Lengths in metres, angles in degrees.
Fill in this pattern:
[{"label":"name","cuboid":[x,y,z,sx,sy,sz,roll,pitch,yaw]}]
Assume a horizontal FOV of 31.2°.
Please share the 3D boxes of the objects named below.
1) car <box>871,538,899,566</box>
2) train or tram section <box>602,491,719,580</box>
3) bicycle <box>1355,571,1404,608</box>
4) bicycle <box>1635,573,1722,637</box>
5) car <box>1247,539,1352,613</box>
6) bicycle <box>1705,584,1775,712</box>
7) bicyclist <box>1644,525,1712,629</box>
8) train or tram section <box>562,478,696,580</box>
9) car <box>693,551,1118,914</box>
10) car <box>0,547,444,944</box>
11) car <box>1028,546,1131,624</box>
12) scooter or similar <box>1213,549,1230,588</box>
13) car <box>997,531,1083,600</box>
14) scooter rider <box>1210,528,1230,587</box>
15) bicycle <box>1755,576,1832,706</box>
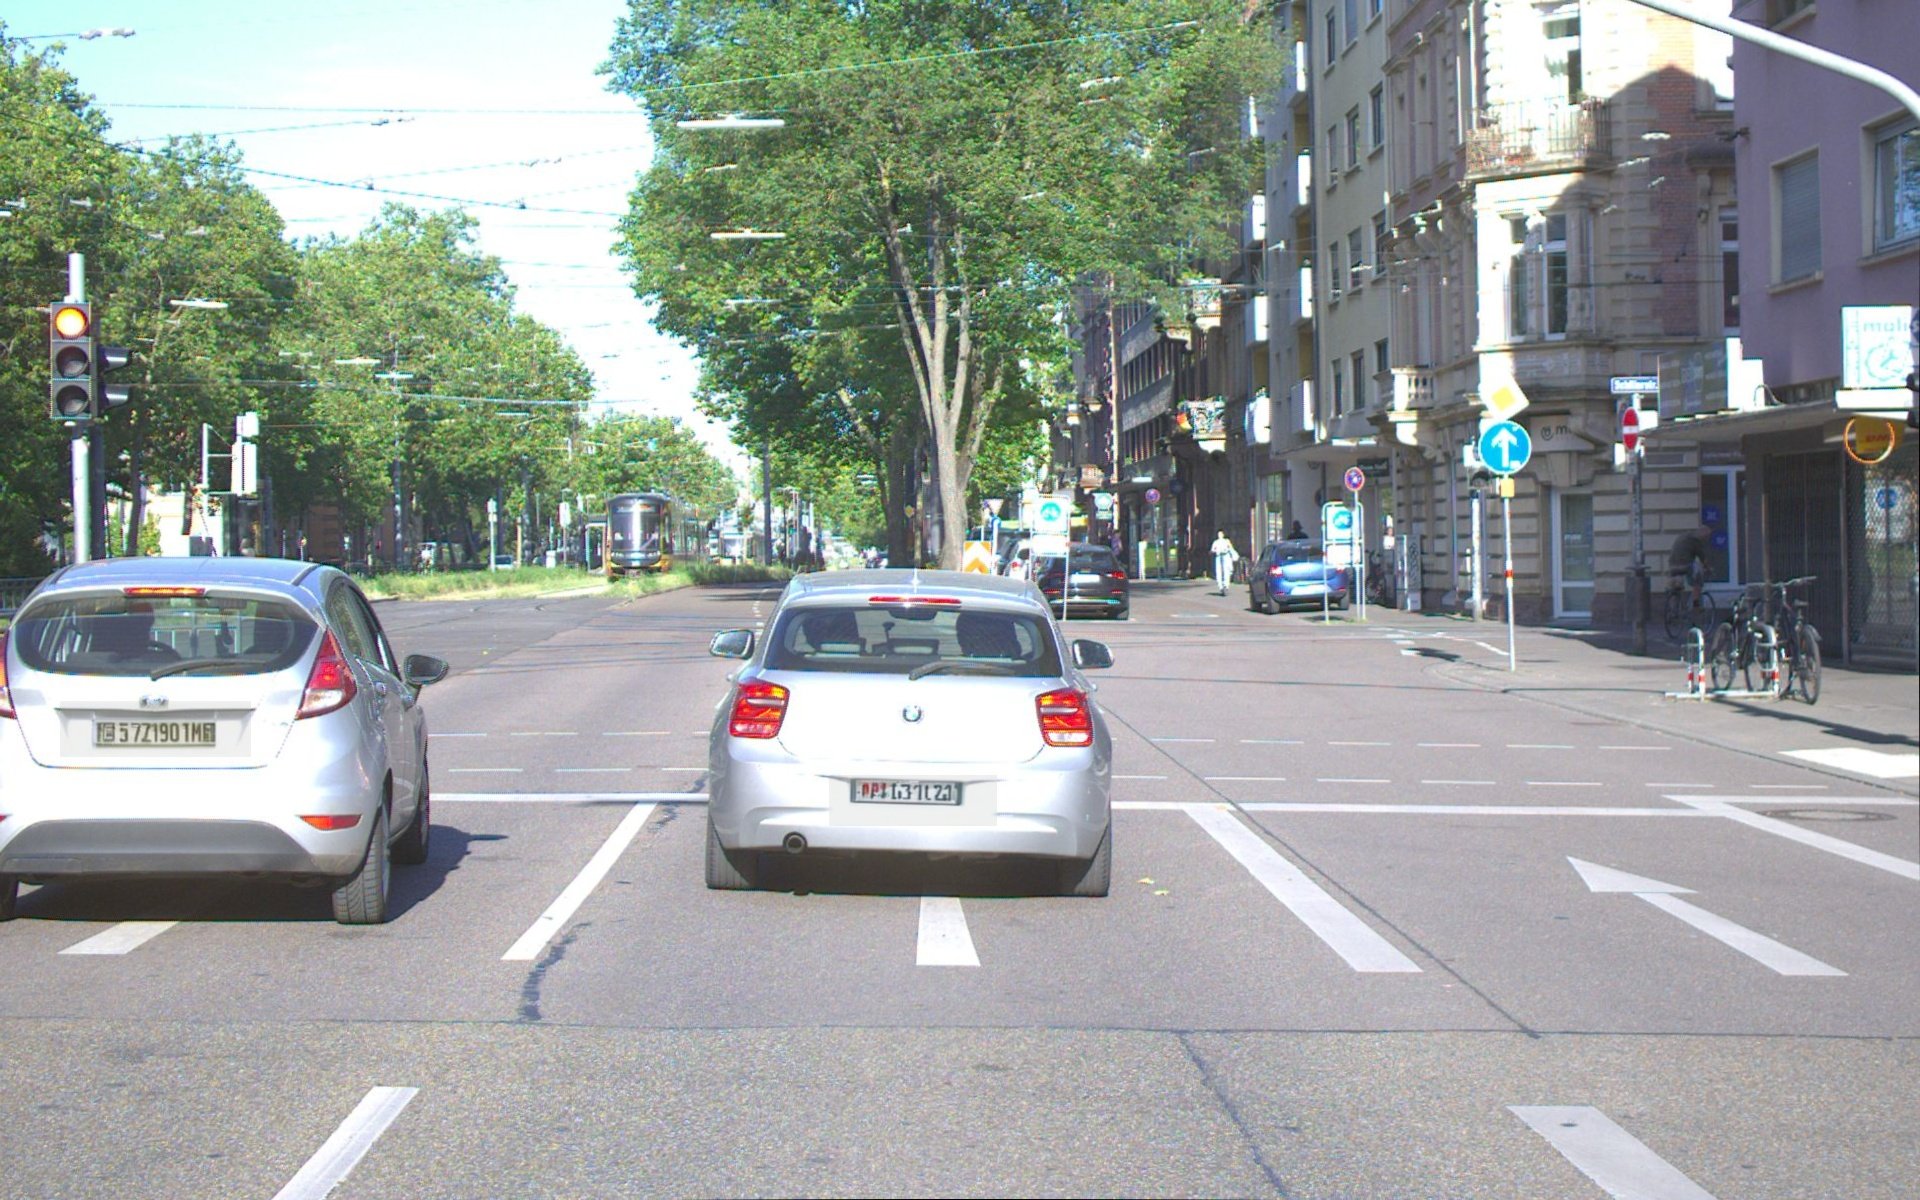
[{"label":"car","cuboid":[-5.537,-3.523,252.892,1.993,2.007,4.000,-1,1,-1]},{"label":"train or tram section","cuboid":[-13.496,-2.930,156.731,4.005,3.852,17.489,0,1,-1]},{"label":"bicycle","cuboid":[8.913,-0.233,73.091,0.754,0.768,1.945,0,1,-2]},{"label":"bicycle","cuboid":[10.387,0.064,49.691,0.654,0.900,1.335,1,1,41]},{"label":"car","cuboid":[7.147,-0.526,72.647,1.735,1.514,3.637,1,1,-1]},{"label":"bicycle","cuboid":[7.284,0.430,32.148,0.414,1.137,1.809,0,1,6]},{"label":"bicyclist","cuboid":[10.382,-0.338,49.699,0.548,1.497,0.959,0,1,41]},{"label":"train or tram section","cuboid":[-13.238,-2.847,139.254,3.969,3.852,17.489,0,1,-1]},{"label":"car","cuboid":[-0.259,0.524,16.325,1.740,1.462,4.000,1,1,-1]},{"label":"car","cuboid":[-3.157,0.513,14.808,1.609,1.462,3.891,0,1,-5]},{"label":"car","cuboid":[2.296,-0.312,66.872,1.735,1.428,3.678,1,1,-2]},{"label":"scooter or similar","cuboid":[6.723,-0.822,88.559,0.337,0.984,1.284,0,1,0]},{"label":"car","cuboid":[1.787,-0.796,77.731,1.724,1.502,3.555,1,1,-2]},{"label":"scooter rider","cuboid":[6.691,-1.096,88.461,0.465,1.500,0.811,0,0,1]},{"label":"bicycle","cuboid":[7.784,0.368,32.145,0.448,1.155,1.758,0,1,5]}]
